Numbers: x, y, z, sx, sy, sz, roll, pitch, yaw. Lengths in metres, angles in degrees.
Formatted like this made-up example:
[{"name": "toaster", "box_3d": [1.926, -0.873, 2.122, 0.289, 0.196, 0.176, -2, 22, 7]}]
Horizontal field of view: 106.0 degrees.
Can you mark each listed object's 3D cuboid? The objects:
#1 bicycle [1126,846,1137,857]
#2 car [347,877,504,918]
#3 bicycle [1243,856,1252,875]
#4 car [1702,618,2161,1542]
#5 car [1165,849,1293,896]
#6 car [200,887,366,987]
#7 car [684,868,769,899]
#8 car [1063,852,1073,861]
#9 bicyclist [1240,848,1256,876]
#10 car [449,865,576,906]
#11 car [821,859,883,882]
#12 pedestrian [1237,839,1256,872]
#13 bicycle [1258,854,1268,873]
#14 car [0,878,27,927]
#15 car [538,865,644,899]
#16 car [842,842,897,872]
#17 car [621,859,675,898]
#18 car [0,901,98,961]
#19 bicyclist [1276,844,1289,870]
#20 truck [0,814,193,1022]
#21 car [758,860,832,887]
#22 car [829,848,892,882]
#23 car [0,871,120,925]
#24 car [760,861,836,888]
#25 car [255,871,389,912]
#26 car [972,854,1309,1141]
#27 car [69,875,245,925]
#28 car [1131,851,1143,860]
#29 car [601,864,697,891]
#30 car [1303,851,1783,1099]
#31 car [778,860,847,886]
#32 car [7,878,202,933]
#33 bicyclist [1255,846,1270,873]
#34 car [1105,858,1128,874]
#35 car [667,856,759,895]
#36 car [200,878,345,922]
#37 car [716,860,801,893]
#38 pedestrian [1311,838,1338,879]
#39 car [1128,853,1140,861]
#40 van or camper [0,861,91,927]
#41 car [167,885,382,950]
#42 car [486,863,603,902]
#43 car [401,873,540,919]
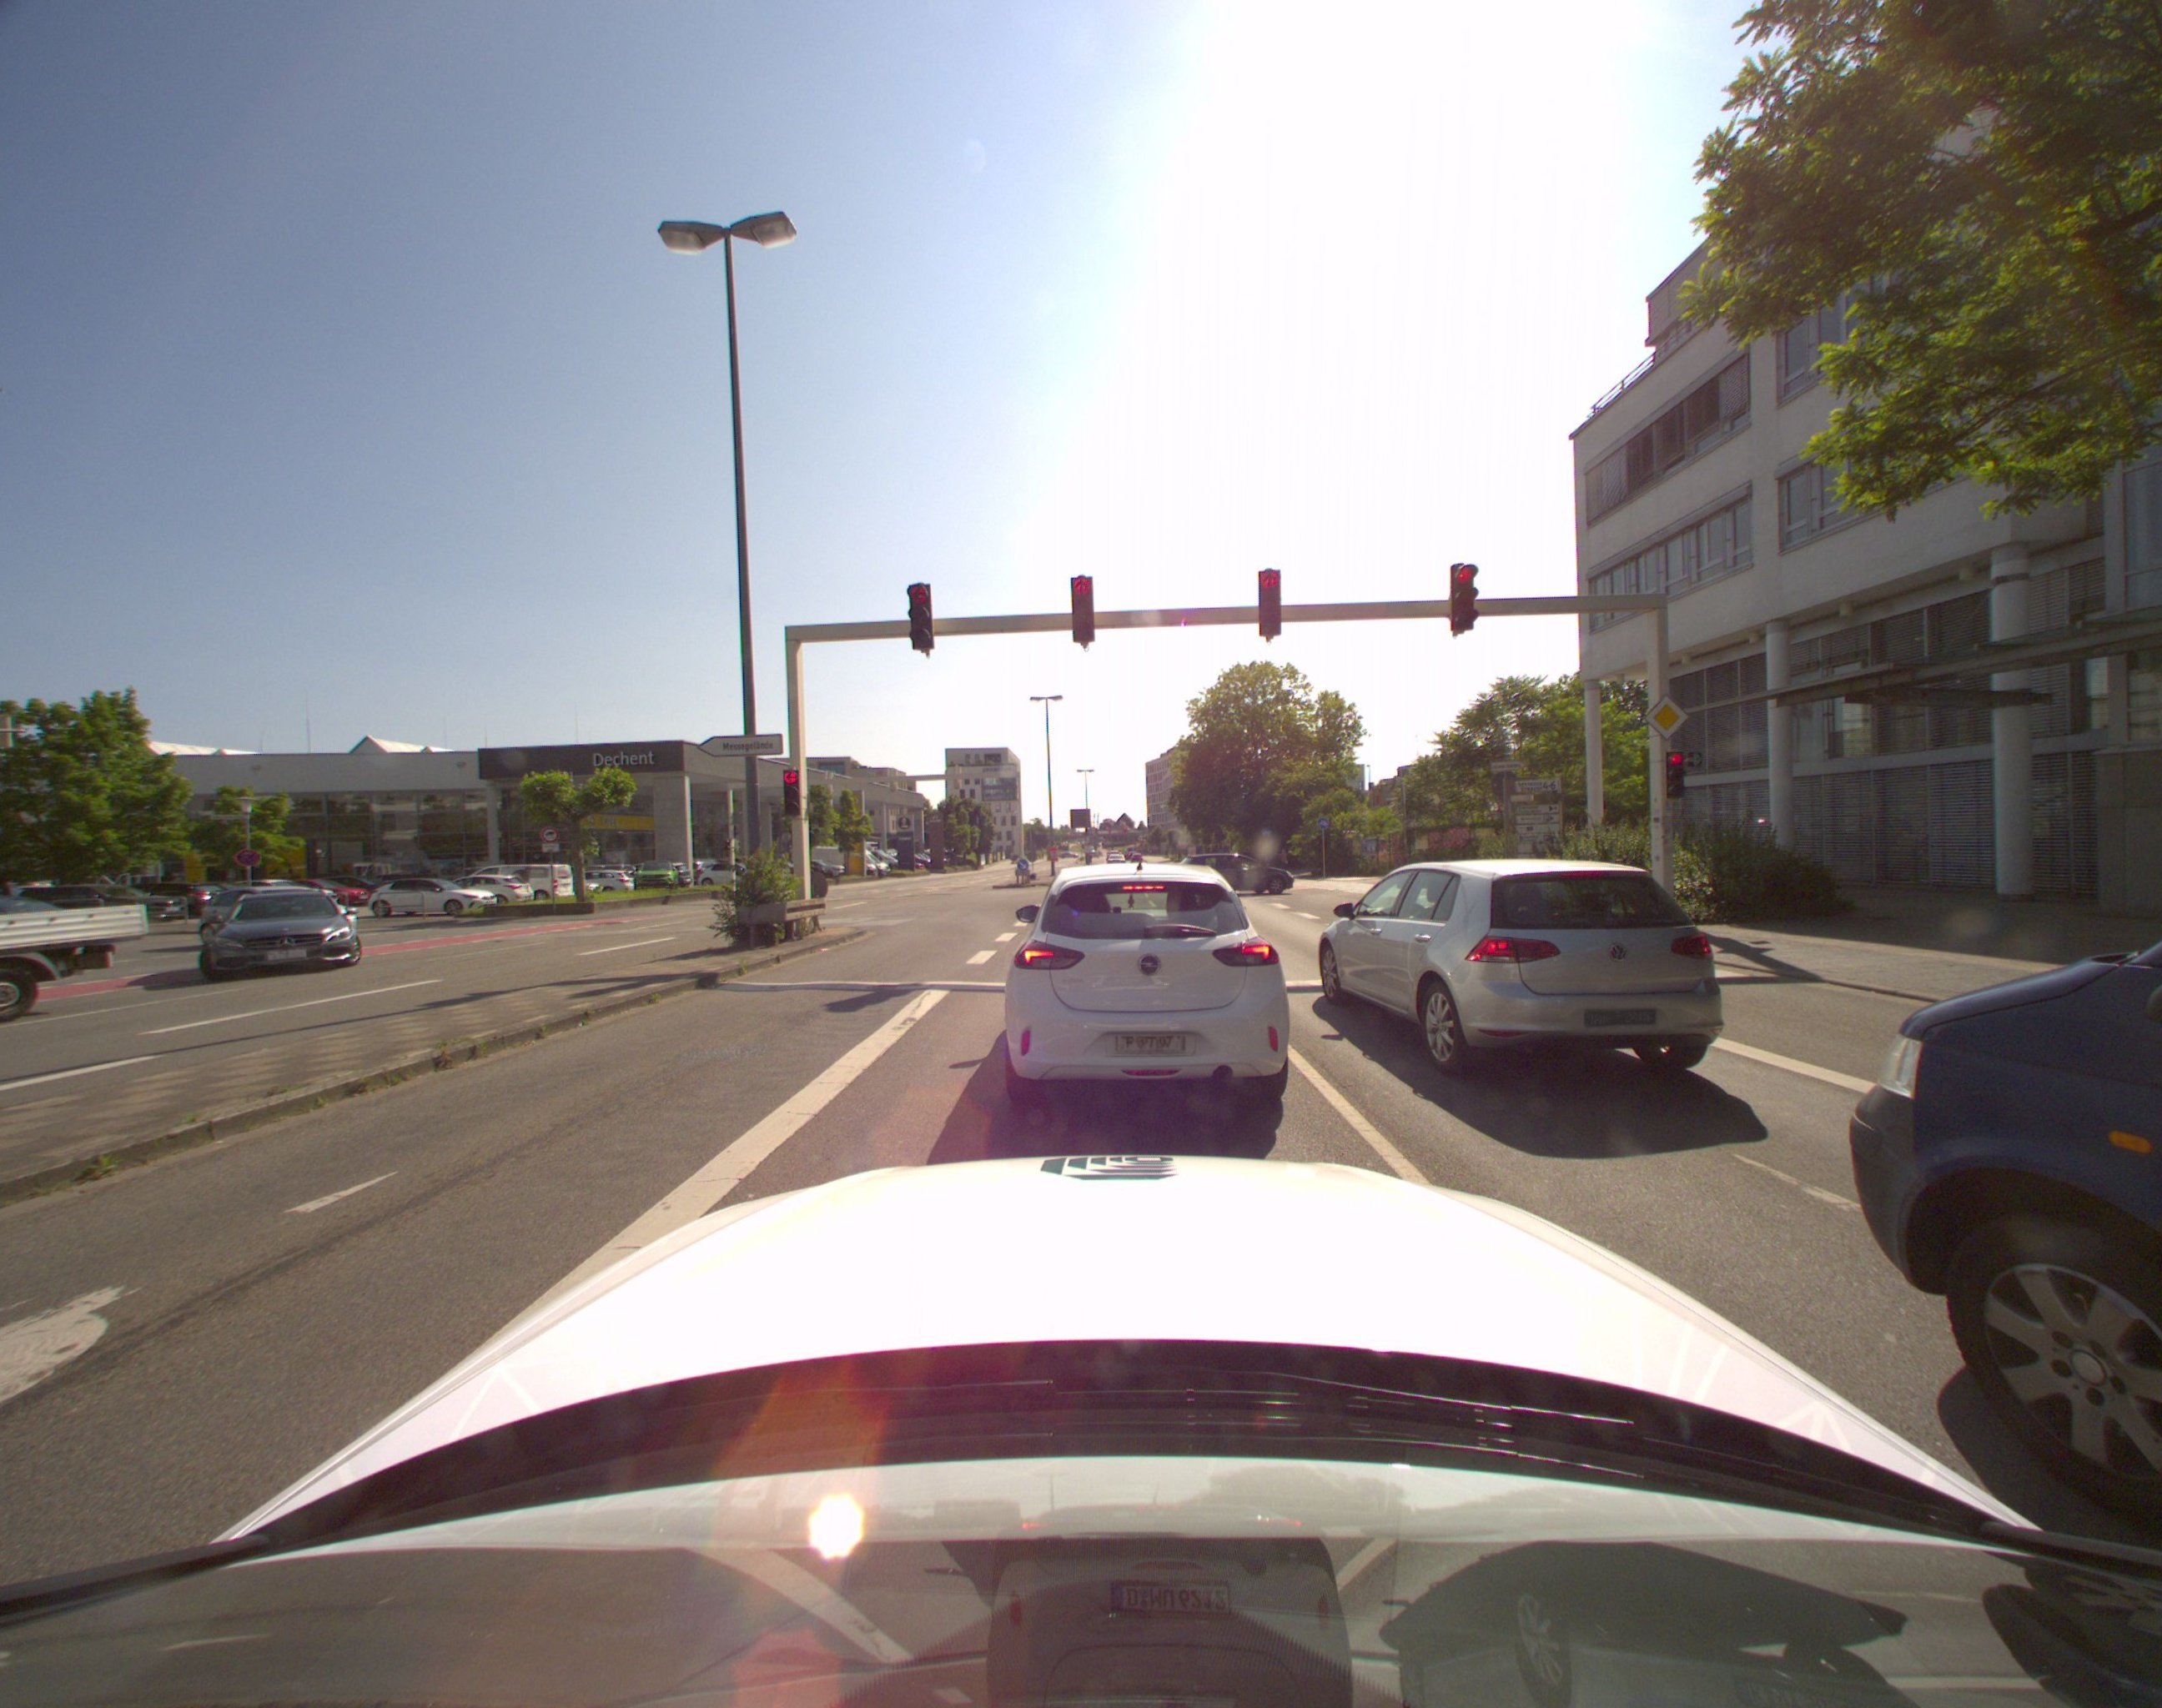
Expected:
[{"name": "bicycle", "box_3d": [9.677, -0.465, 155.551, 1.986, 2.157, 4.001, -2, 0, 1]}, {"name": "car", "box_3d": [-25.539, 1.677, 31.862, 4.348, 1.300, 1.997, -2, 0, -4]}, {"name": "bicycle", "box_3d": [10.759, 0.768, 52.687, 0.371, 1.216, 1.154, 0, 0, 2]}, {"name": "car", "box_3d": [3.220, 0.444, 0.502, 1.986, 1.948, 4.892, -2, -1, 2]}, {"name": "car", "box_3d": [5.135, 0.623, 28.548, 3.982, 1.442, 1.996, -2, 0, -6]}, {"name": "car", "box_3d": [-15.058, 1.448, 15.620, 1.972, 1.427, 4.531, -1, 0, -41]}, {"name": "car", "box_3d": [-20.367, 1.659, 46.920, 3.981, 1.599, 1.996, -2, 0, -6]}, {"name": "car", "box_3d": [-3.158, 0.604, 197.739, 1.986, 2.013, 4.002, -3, 0, 2]}, {"name": "bicyclist", "box_3d": [10.804, 0.498, 52.712, 0.876, 1.772, 0.864, -2, 0, 1]}, {"name": "car", "box_3d": [-26.545, 1.438, 38.164, 4.353, 1.696, 1.995, -2, 0, -7]}, {"name": "car", "box_3d": [-18.507, 1.333, 65.904, 4.334, 1.696, 2.004, -2, 0, 6]}, {"name": "pedestrian", "box_3d": [11.471, 0.103, 56.497, 1.023, 2.238, 1.039, -2, 0, 1]}, {"name": "bicycle", "box_3d": [11.436, 0.600, 51.263, 0.372, 1.147, 1.034, 0, -1, 0]}, {"name": "car", "box_3d": [-40.603, 1.809, 28.333, 4.371, 1.696, 1.987, -2, 0, -20]}, {"name": "car", "box_3d": [-26.159, 1.492, 43.587, 4.352, 1.591, 1.996, -2, 0, -7]}, {"name": "car", "box_3d": [-19.099, 0.265, 73.690, 4.334, 2.601, 2.004, -2, 0, 6]}, {"name": "car", "box_3d": [-21.254, 1.215, 39.959, 1.915, 1.733, 3.258, -2, -1, -35]}, {"name": "car", "box_3d": [-30.080, 2.104, 22.041, 4.346, 1.447, 1.998, -1, 0, -3]}, {"name": "bicyclist", "box_3d": [12.853, 0.186, 51.977, 0.650, 1.637, 0.660, 0, -1, 1]}, {"name": "truck", "box_3d": [-14.508, 0.856, 8.786, 2.346, 2.545, 6.445, -4, 0, 4]}, {"name": "car", "box_3d": [-19.980, 1.377, 57.023, 4.344, 1.696, 1.999, -2, 0, -1]}, {"name": "car", "box_3d": [-18.473, 0.934, 68.355, 4.469, 2.684, 2.134, -2, 0, 10]}, {"name": "car", "box_3d": [-43.164, 1.820, 33.700, 3.984, 2.013, 1.995, -2, 0, -8]}, {"name": "car", "box_3d": [-18.984, 1.349, 54.710, 4.343, 1.696, 1.999, -2, 0, -1]}, {"name": "car", "box_3d": [-36.620, 1.774, 39.416, 4.352, 1.696, 1.995, -2, 0, -7]}, {"name": "car", "box_3d": [0.379, 0.775, 6.401, 1.773, 1.494, 4.001, -2, 0, 2]}, {"name": "car", "box_3d": [-36.179, 1.765, 31.998, 4.348, 1.696, 1.997, -2, 0, -4]}, {"name": "car", "box_3d": [9.058, 0.311, 132.130, 1.799, 1.386, 4.001, 0, -1, 2]}, {"name": "car", "box_3d": [-24.705, 1.371, 46.681, 4.352, 1.268, 1.995, -3, -2, -7]}, {"name": "car", "box_3d": [3.320, 0.741, 6.894, 1.801, 1.429, 4.000, -2, -1, 1]}, {"name": "car", "box_3d": [-19.789, 1.363, 60.156, 4.344, 1.696, 1.999, -2, 0, -1]}, {"name": "car", "box_3d": [-35.200, 1.817, 29.472, 4.348, 1.696, 1.997, -2, 0, -4]}, {"name": "bicyclist", "box_3d": [11.410, 0.343, 51.261, 0.687, 1.643, 0.775, -2, 0, -7]}, {"name": "car", "box_3d": [3.114, 1.053, 72.431, 1.986, 1.331, 4.002, 0, -1, 2]}, {"name": "car", "box_3d": [-19.260, 1.090, 42.780, 3.859, 1.837, 1.999, -2, 0, -1]}, {"name": "car", "box_3d": [-36.637, 2.057, 37.017, 4.348, 1.696, 1.997, -2, 0, -4]}, {"name": "car", "box_3d": [-19.603, 1.358, 49.585, 4.284, 1.765, 1.999, -2, 0, -1]}, {"name": "pedestrian", "box_3d": [12.427, 0.216, 41.584, 1.023, 2.013, 1.039, -2, 0, 1]}, {"name": "car", "box_3d": [9.269, 0.585, 142.631, 1.799, 1.386, 4.001, 0, -1, 2]}, {"name": "van or camper", "box_3d": [-41.948, 1.571, 31.342, 4.711, 2.400, 1.995, -2, 0, -8]}, {"name": "car", "box_3d": [-21.453, 1.665, 21.782, 3.890, 1.438, 1.778, -2, 0, 0]}, {"name": "car", "box_3d": [-26.710, 1.381, 40.682, 4.353, 1.696, 1.995, -2, 0, -7]}, {"name": "car", "box_3d": [-26.188, 1.773, 35.064, 4.348, 1.696, 1.997, -2, 0, -4]}]
